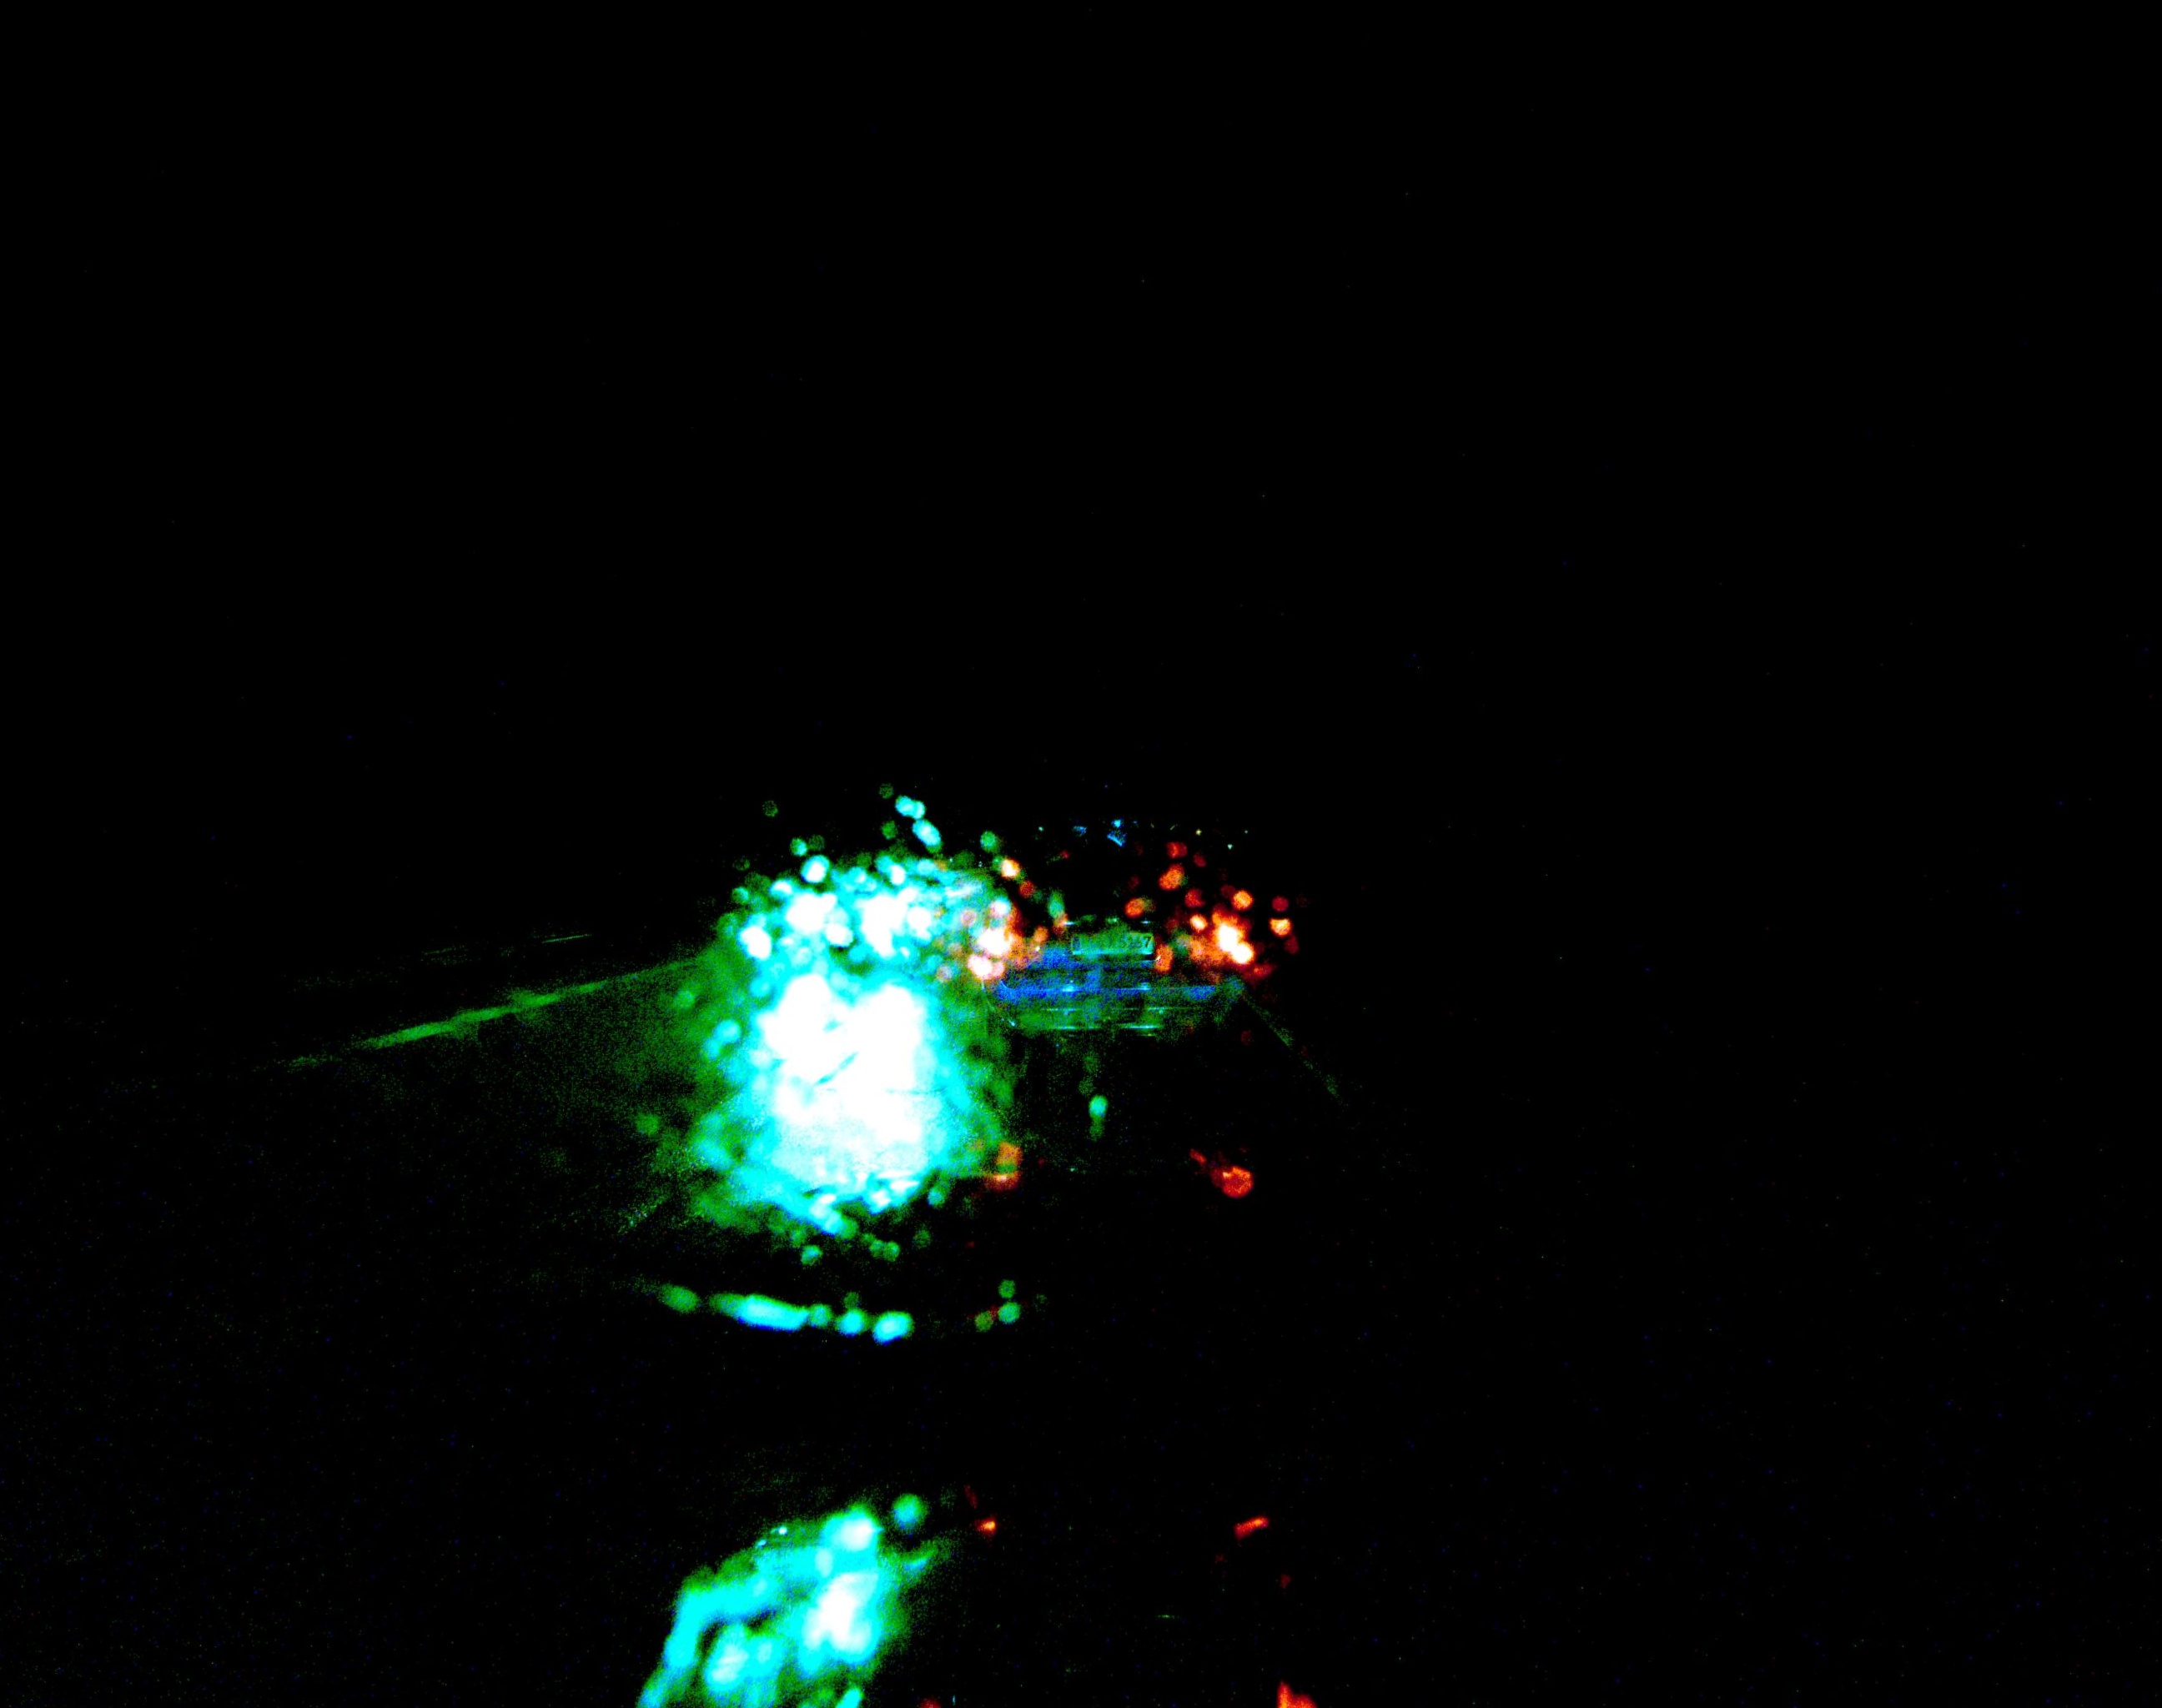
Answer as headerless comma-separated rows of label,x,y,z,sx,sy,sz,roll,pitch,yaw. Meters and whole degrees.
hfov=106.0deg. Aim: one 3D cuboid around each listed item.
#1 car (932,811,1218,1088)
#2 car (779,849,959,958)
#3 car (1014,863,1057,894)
car,0.039,0.616,7.096,1.768,1.712,4.002,-1,0,2
car,-3.335,0.688,13.718,1.831,1.546,4.258,0,0,1
car,-2.307,1.227,42.305,1.897,1.470,4.275,1,0,1
